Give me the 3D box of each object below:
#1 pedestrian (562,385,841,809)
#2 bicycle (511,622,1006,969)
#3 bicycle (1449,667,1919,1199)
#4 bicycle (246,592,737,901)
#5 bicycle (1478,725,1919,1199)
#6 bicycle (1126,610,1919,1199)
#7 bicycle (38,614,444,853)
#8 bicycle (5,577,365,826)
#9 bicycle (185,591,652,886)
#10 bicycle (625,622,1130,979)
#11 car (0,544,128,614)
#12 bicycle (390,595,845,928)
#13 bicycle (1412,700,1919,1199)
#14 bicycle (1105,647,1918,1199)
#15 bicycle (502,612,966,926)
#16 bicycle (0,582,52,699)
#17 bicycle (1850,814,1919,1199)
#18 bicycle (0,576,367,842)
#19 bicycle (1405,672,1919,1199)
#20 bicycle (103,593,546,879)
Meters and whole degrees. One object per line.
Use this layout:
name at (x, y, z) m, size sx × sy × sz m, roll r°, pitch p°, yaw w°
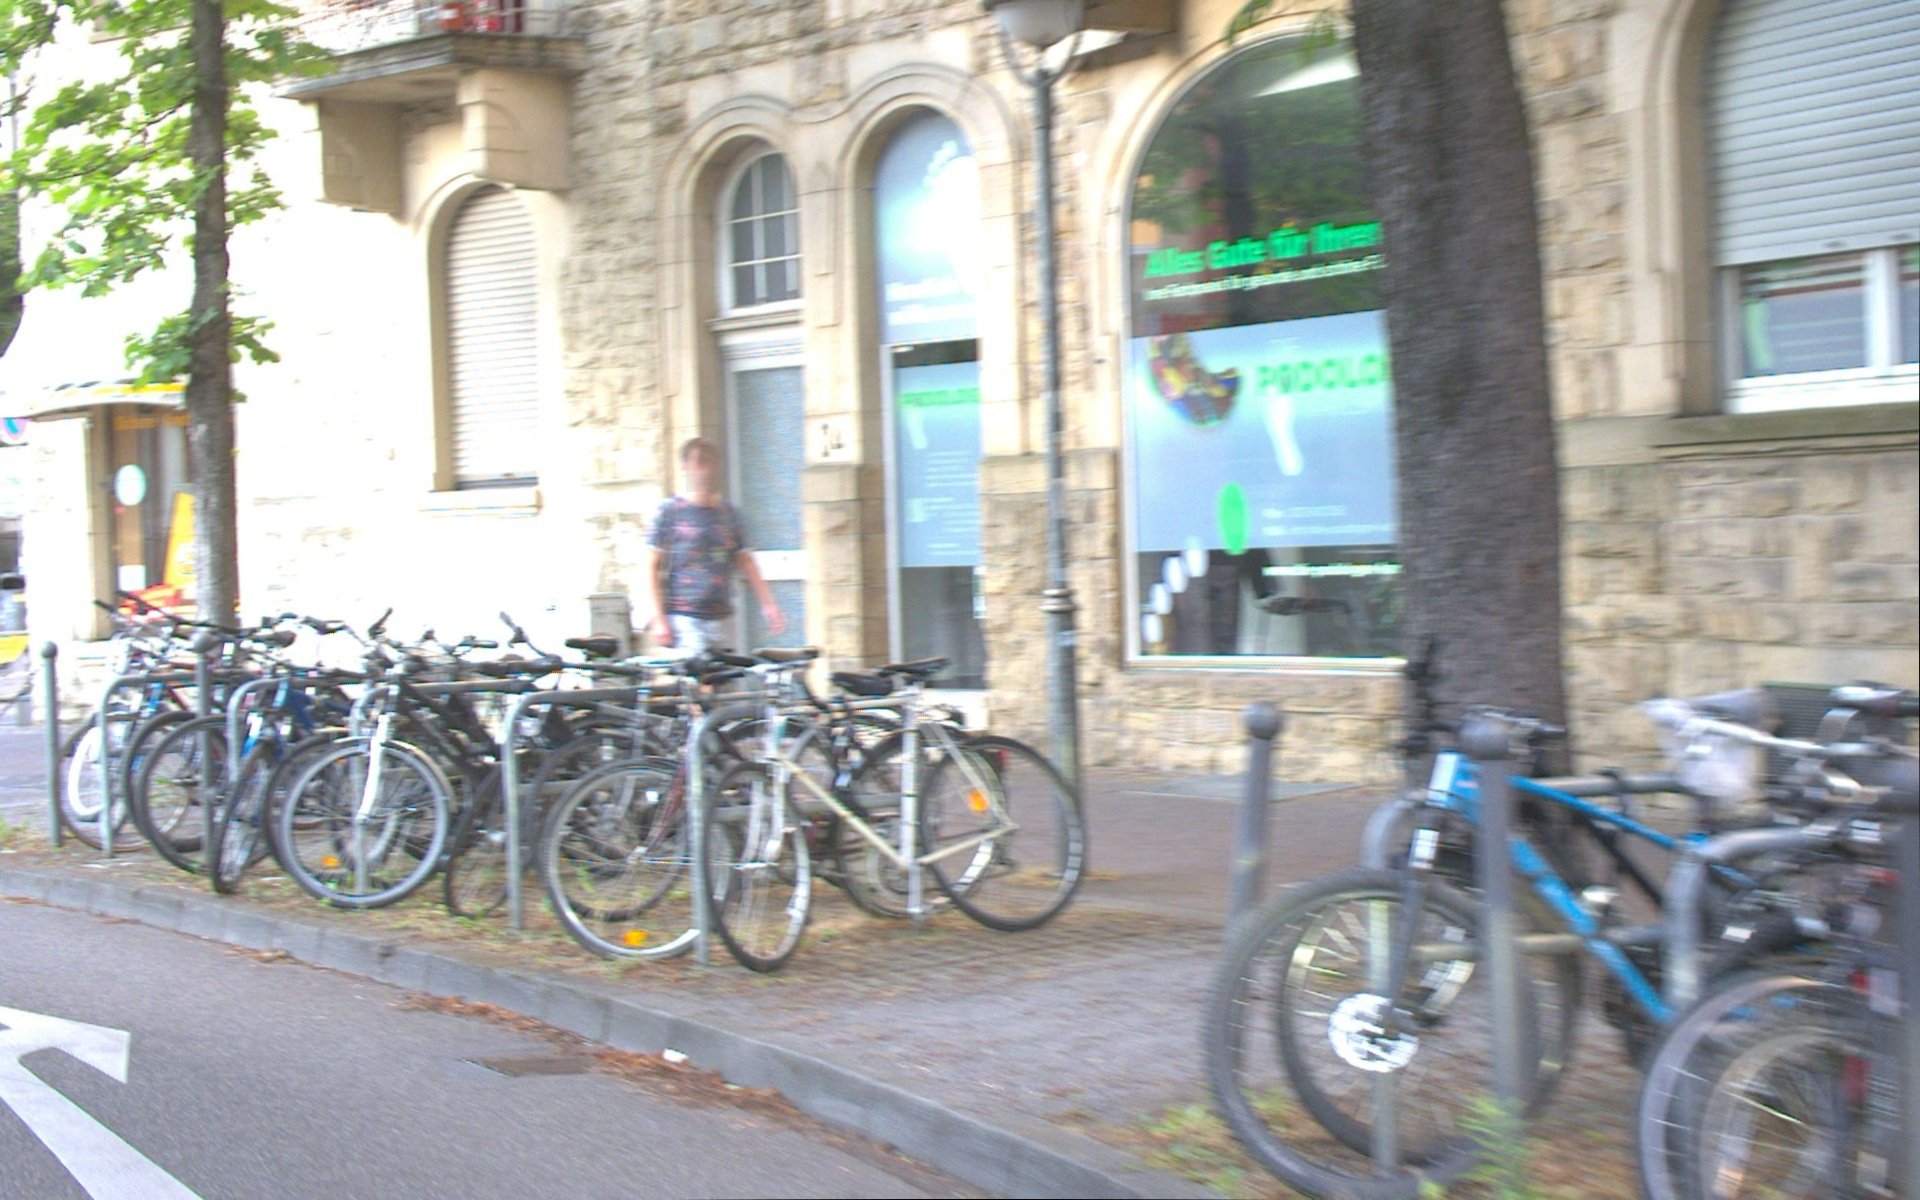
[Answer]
pedestrian at (-1.341, -0.038, 17.705) m, size 1.010 × 2.078 × 1.061 m, roll -3°, pitch 2°, yaw -28°
bicycle at (-0.689, 0.653, 12.063) m, size 1.670 × 1.074 × 0.486 m, roll -3°, pitch 1°, yaw -32°
bicycle at (1.885, 0.721, 7.078) m, size 1.850 × 1.100 × 0.573 m, roll -3°, pitch 2°, yaw -37°
bicycle at (-1.960, 0.582, 14.481) m, size 1.885 × 1.158 × 0.704 m, roll -3°, pitch 1°, yaw -30°
bicycle at (1.902, 0.779, 5.844) m, size 1.849 × 1.088 × 0.419 m, roll -2°, pitch -18°, yaw -14°
bicycle at (1.366, 0.673, 7.433) m, size 1.878 × 1.213 × 0.492 m, roll -2°, pitch -5°, yaw -14°
bicycle at (-3.510, 0.625, 16.875) m, size 1.802 × 1.034 × 0.699 m, roll -3°, pitch 2°, yaw -41°
bicycle at (-4.207, 0.524, 18.744) m, size 1.788 × 1.232 × 0.651 m, roll -3°, pitch 2°, yaw -42°
bicycle at (-2.369, 0.580, 15.124) m, size 1.885 × 1.158 × 0.640 m, roll -3°, pitch 1°, yaw -30°
bicycle at (-0.264, 0.651, 11.720) m, size 1.670 × 1.074 × 0.486 m, roll -3°, pitch 1°, yaw -32°
car at (-20.988, -0.490, 78.962) m, size 1.945 × 1.477 × 4.166 m, roll -2°, pitch 1°, yaw 13°
bicycle at (-1.313, 0.601, 13.270) m, size 1.669 × 1.124 × 0.486 m, roll -2°, pitch 8°, yaw -23°
bicycle at (1.825, 0.772, 6.109) m, size 1.849 × 1.126 × 0.419 m, roll -2°, pitch -18°, yaw -14°
bicycle at (1.281, 0.716, 7.864) m, size 1.879 × 1.136 × 0.492 m, roll -1°, pitch 5°, yaw -27°
bicycle at (-0.856, 0.620, 13.151) m, size 1.669 × 1.074 × 0.486 m, roll -3°, pitch 1°, yaw -24°
bicycle at (-9.921, 0.417, 33.607) m, size 1.872 × 1.126 × 0.731 m, roll -2°, pitch 1°, yaw -26°
bicycle at (2.244, 0.780, 4.975) m, size 1.849 × 0.996 × 0.419 m, roll -2°, pitch 1°, yaw -14°
bicycle at (-4.013, 0.527, 17.582) m, size 1.788 × 1.232 × 0.699 m, roll -3°, pitch 2°, yaw -41°
bicycle at (1.806, 0.720, 6.519) m, size 1.849 × 1.140 × 0.419 m, roll -2°, pitch 1°, yaw -14°
bicycle at (-2.874, 0.585, 15.682) m, size 1.886 × 1.158 × 0.640 m, roll -3°, pitch 2°, yaw -41°
